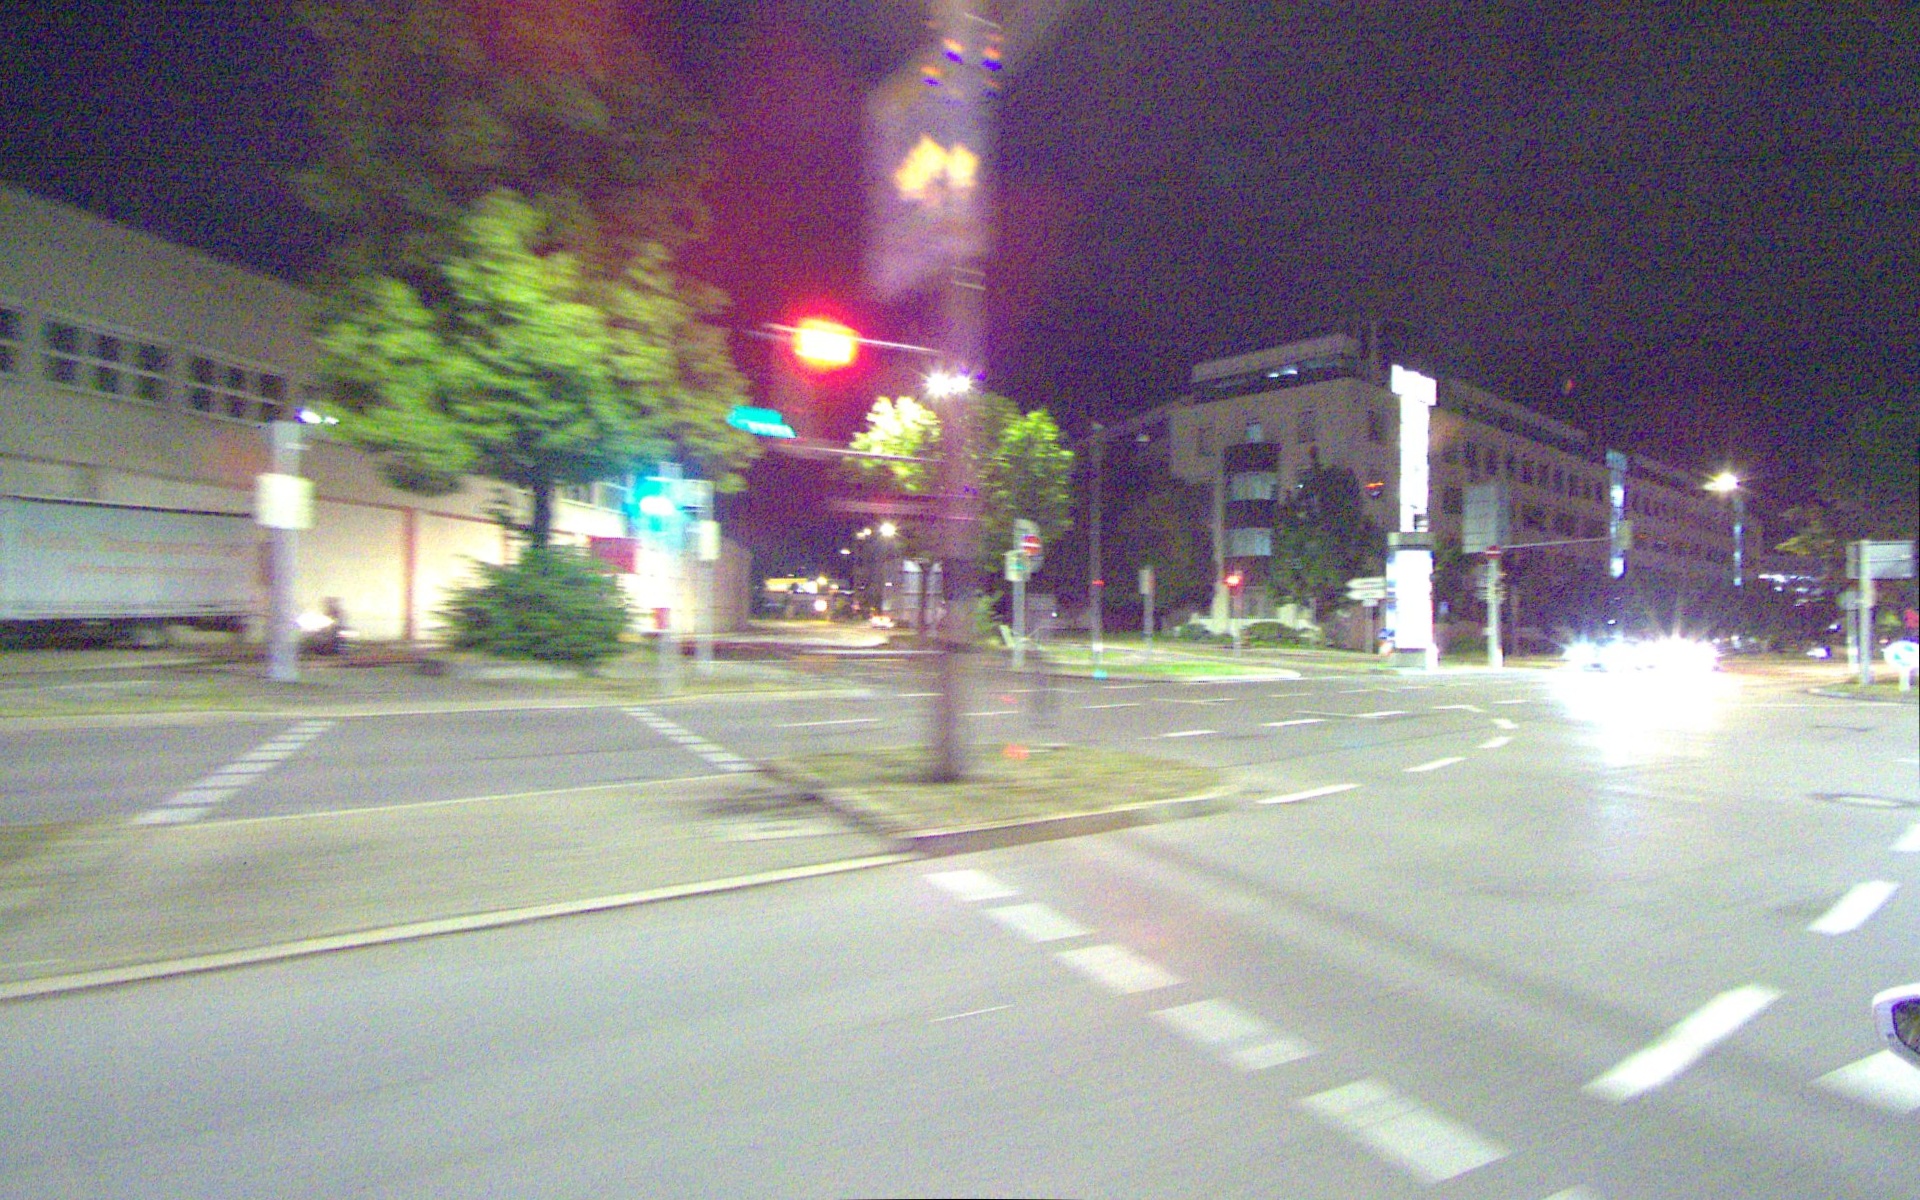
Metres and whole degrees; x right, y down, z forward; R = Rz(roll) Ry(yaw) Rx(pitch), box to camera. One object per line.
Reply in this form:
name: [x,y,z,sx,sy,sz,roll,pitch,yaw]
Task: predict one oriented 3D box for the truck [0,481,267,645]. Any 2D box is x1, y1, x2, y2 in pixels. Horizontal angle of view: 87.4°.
truck: [-21.989,-0.809,26.136,2.354,3.743,6.207,2,0,20]
